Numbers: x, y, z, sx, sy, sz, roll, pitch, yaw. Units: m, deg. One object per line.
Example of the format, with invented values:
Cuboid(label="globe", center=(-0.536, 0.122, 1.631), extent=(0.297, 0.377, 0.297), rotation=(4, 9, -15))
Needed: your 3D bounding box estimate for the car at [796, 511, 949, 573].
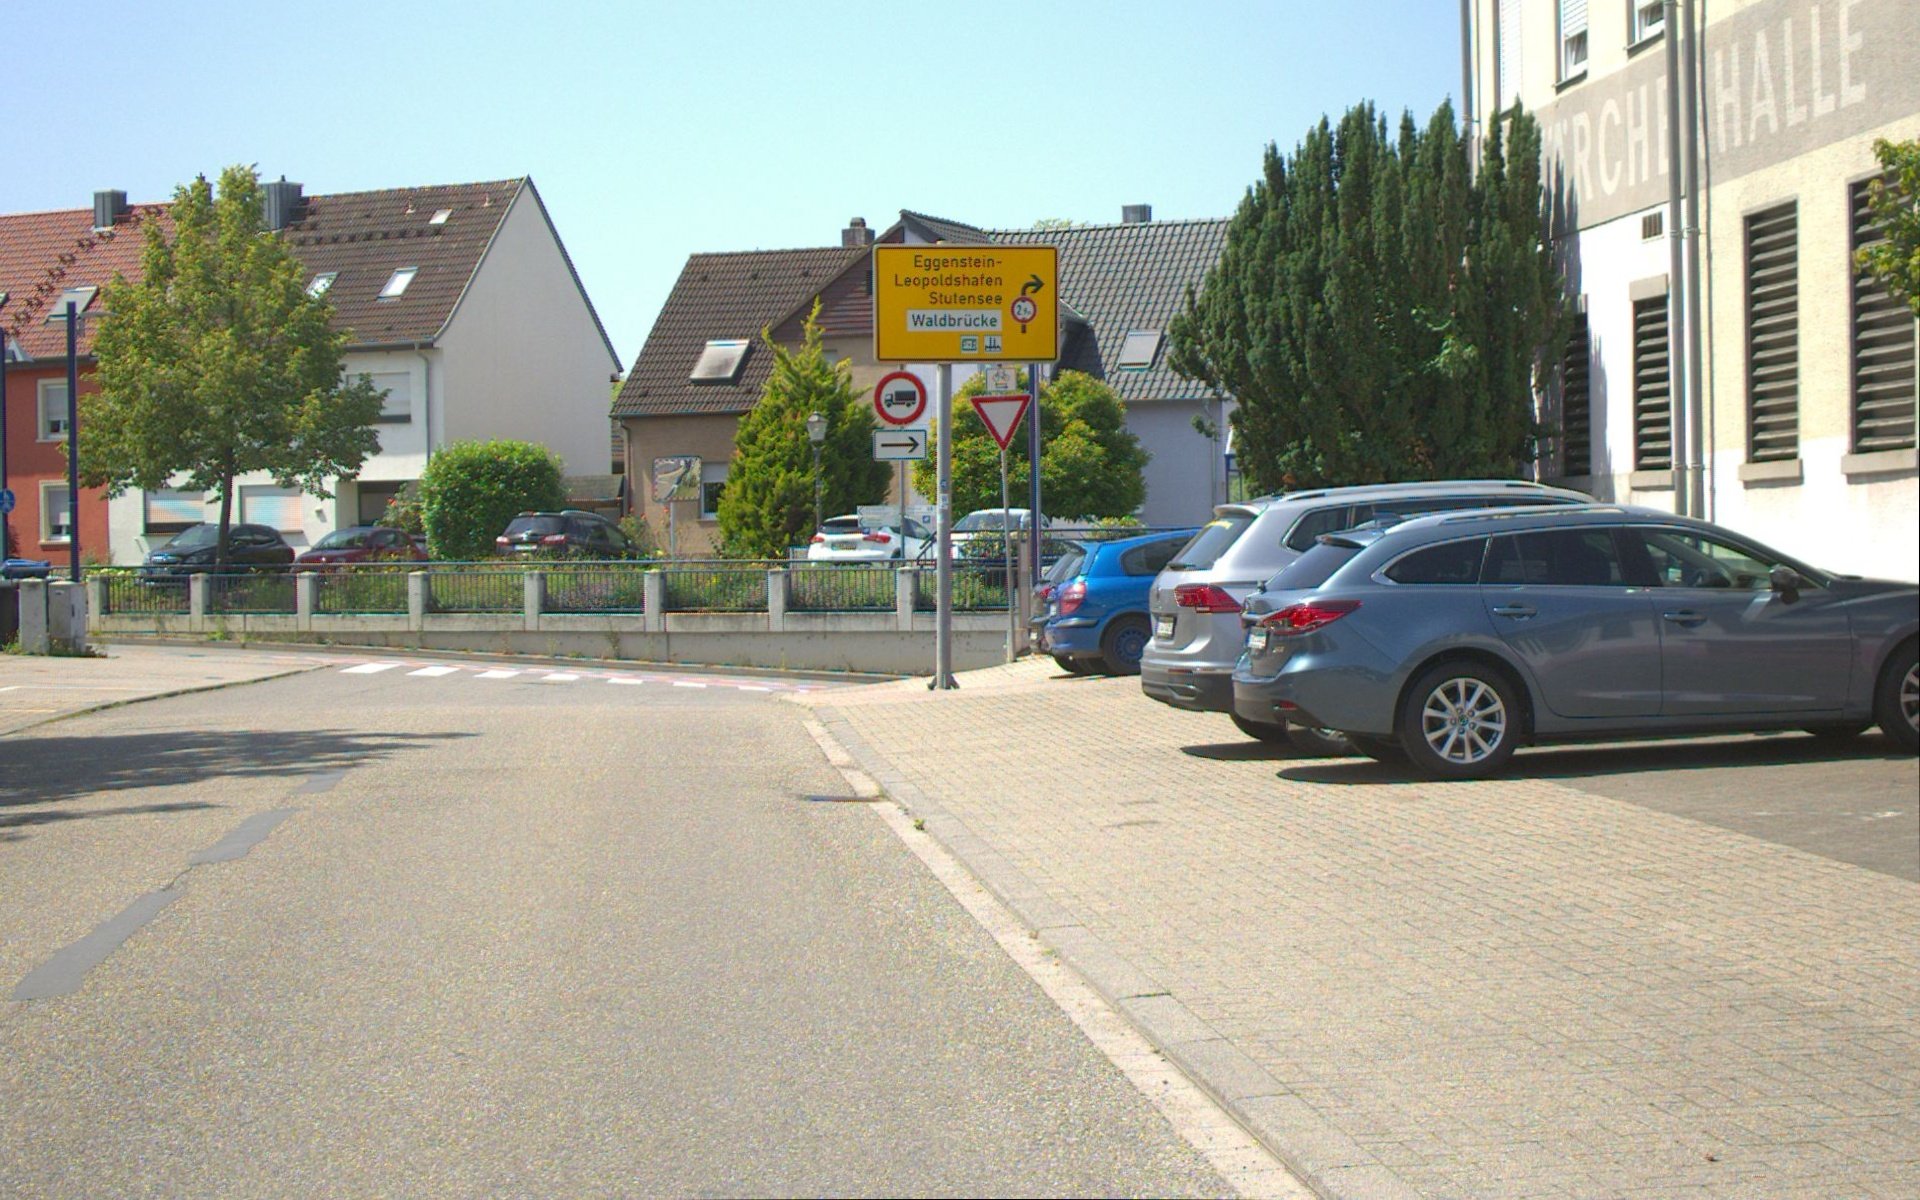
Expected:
Cuboid(label="car", center=(-1.716, -1.145, 68.722), extent=(1.827, 1.016, 3.455), rotation=(4, 0, 21))

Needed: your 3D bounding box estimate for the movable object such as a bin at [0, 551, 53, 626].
Cuboid(label="movable object such as a bin", center=(-15.353, -0.197, 56.399), extent=(0.839, 1.209, 1.277), rotation=(0, 0, -18))

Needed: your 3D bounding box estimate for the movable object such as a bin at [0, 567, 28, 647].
Cuboid(label="movable object such as a bin", center=(-14.927, 0.096, 53.059), extent=(0.885, 1.221, 0.902), rotation=(0, 0, -3))

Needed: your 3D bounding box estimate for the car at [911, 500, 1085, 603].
Cuboid(label="car", center=(0.786, -0.937, 67.851), extent=(1.996, 1.791, 4.192), rotation=(4, 0, 21))

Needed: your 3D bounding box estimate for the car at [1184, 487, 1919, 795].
Cuboid(label="car", center=(3.728, 0.184, 19.971), extent=(4.499, 1.514, 2.000), rotation=(-3, 1, -6))

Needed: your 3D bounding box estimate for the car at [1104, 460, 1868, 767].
Cuboid(label="car", center=(3.326, 0.054, 22.216), extent=(4.452, 1.691, 1.923), rotation=(-3, 1, -7))

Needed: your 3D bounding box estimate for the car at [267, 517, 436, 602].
Cuboid(label="car", center=(-12.949, -0.845, 73.331), extent=(1.869, 1.581, 3.605), rotation=(4, 0, 21))

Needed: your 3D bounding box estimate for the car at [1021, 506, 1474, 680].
Cuboid(label="car", center=(2.937, -0.057, 35.642), extent=(4.321, 1.435, 1.780), rotation=(-4, -1, -6))

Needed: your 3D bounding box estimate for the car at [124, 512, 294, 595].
Cuboid(label="car", center=(-16.367, -0.998, 75.044), extent=(1.869, 1.581, 3.605), rotation=(4, 0, 21))

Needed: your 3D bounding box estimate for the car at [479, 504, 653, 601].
Cuboid(label="car", center=(-8.184, -0.969, 71.768), extent=(1.869, 1.791, 3.995), rotation=(4, 0, 21))

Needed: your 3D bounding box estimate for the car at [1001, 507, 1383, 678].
Cuboid(label="car", center=(2.587, -0.078, 38.891), extent=(3.894, 1.485, 1.810), rotation=(-6, 0, -7))
